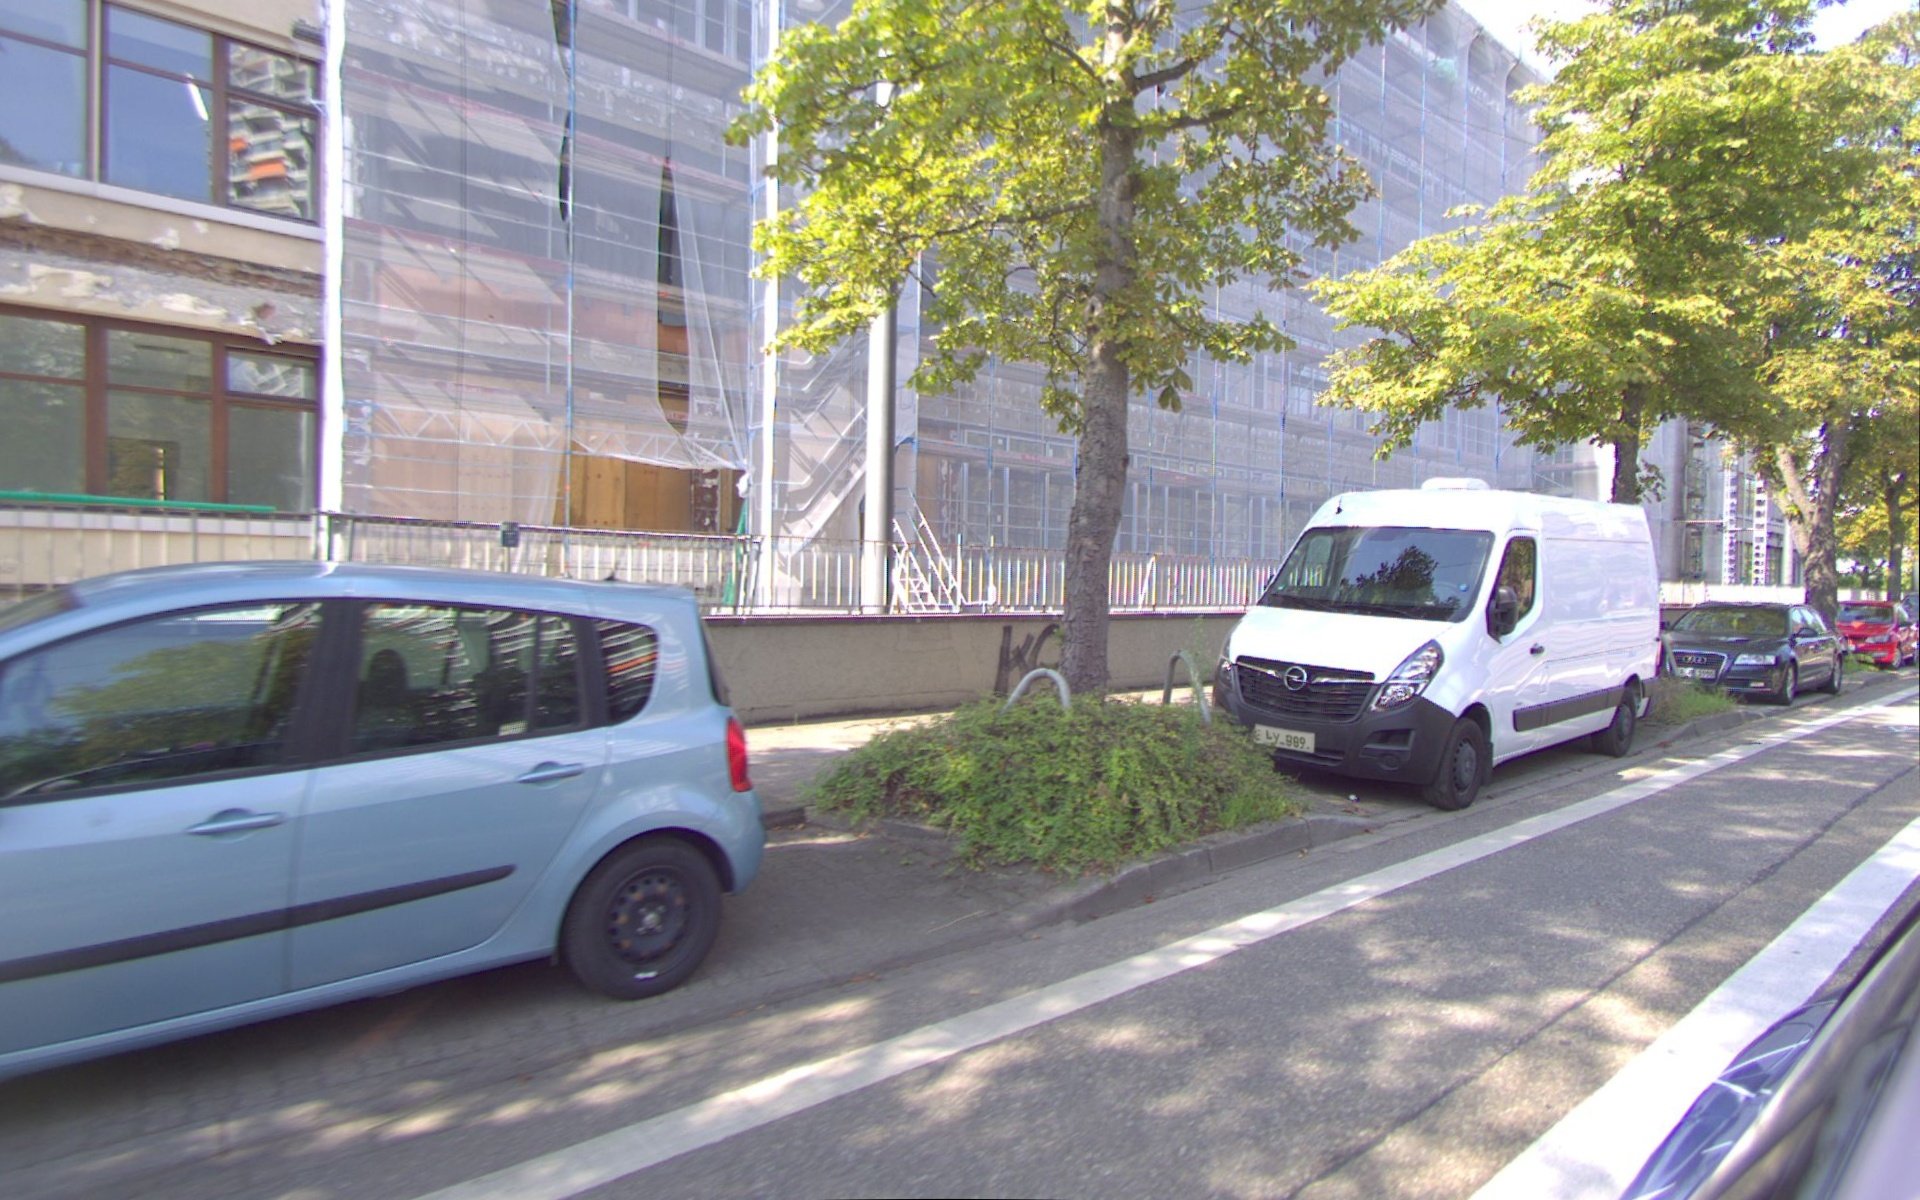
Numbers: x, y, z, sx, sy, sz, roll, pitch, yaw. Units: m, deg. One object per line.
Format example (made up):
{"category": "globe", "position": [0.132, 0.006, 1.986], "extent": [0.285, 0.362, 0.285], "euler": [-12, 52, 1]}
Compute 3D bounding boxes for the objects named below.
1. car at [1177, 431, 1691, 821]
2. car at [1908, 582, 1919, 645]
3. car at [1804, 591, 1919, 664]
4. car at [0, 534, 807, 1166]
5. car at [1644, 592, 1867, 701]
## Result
{"category": "car", "position": [4.561, 0.076, 9.250], "extent": [5.405, 2.583, 2.088], "euler": [-1, 5, -41]}
{"category": "car", "position": [28.237, 0.387, 28.546], "extent": [4.319, 1.713, 1.756], "euler": [0, 0, -41]}
{"category": "car", "position": [20.085, 0.534, 22.217], "extent": [3.928, 1.431, 1.621], "euler": [0, 2, -39]}
{"category": "car", "position": [-2.633, 0.613, 3.541], "extent": [3.806, 1.636, 1.669], "euler": [0, 2, -39]}
{"category": "car", "position": [12.287, 0.596, 15.516], "extent": [4.739, 1.391, 1.621], "euler": [0, 2, -39]}
